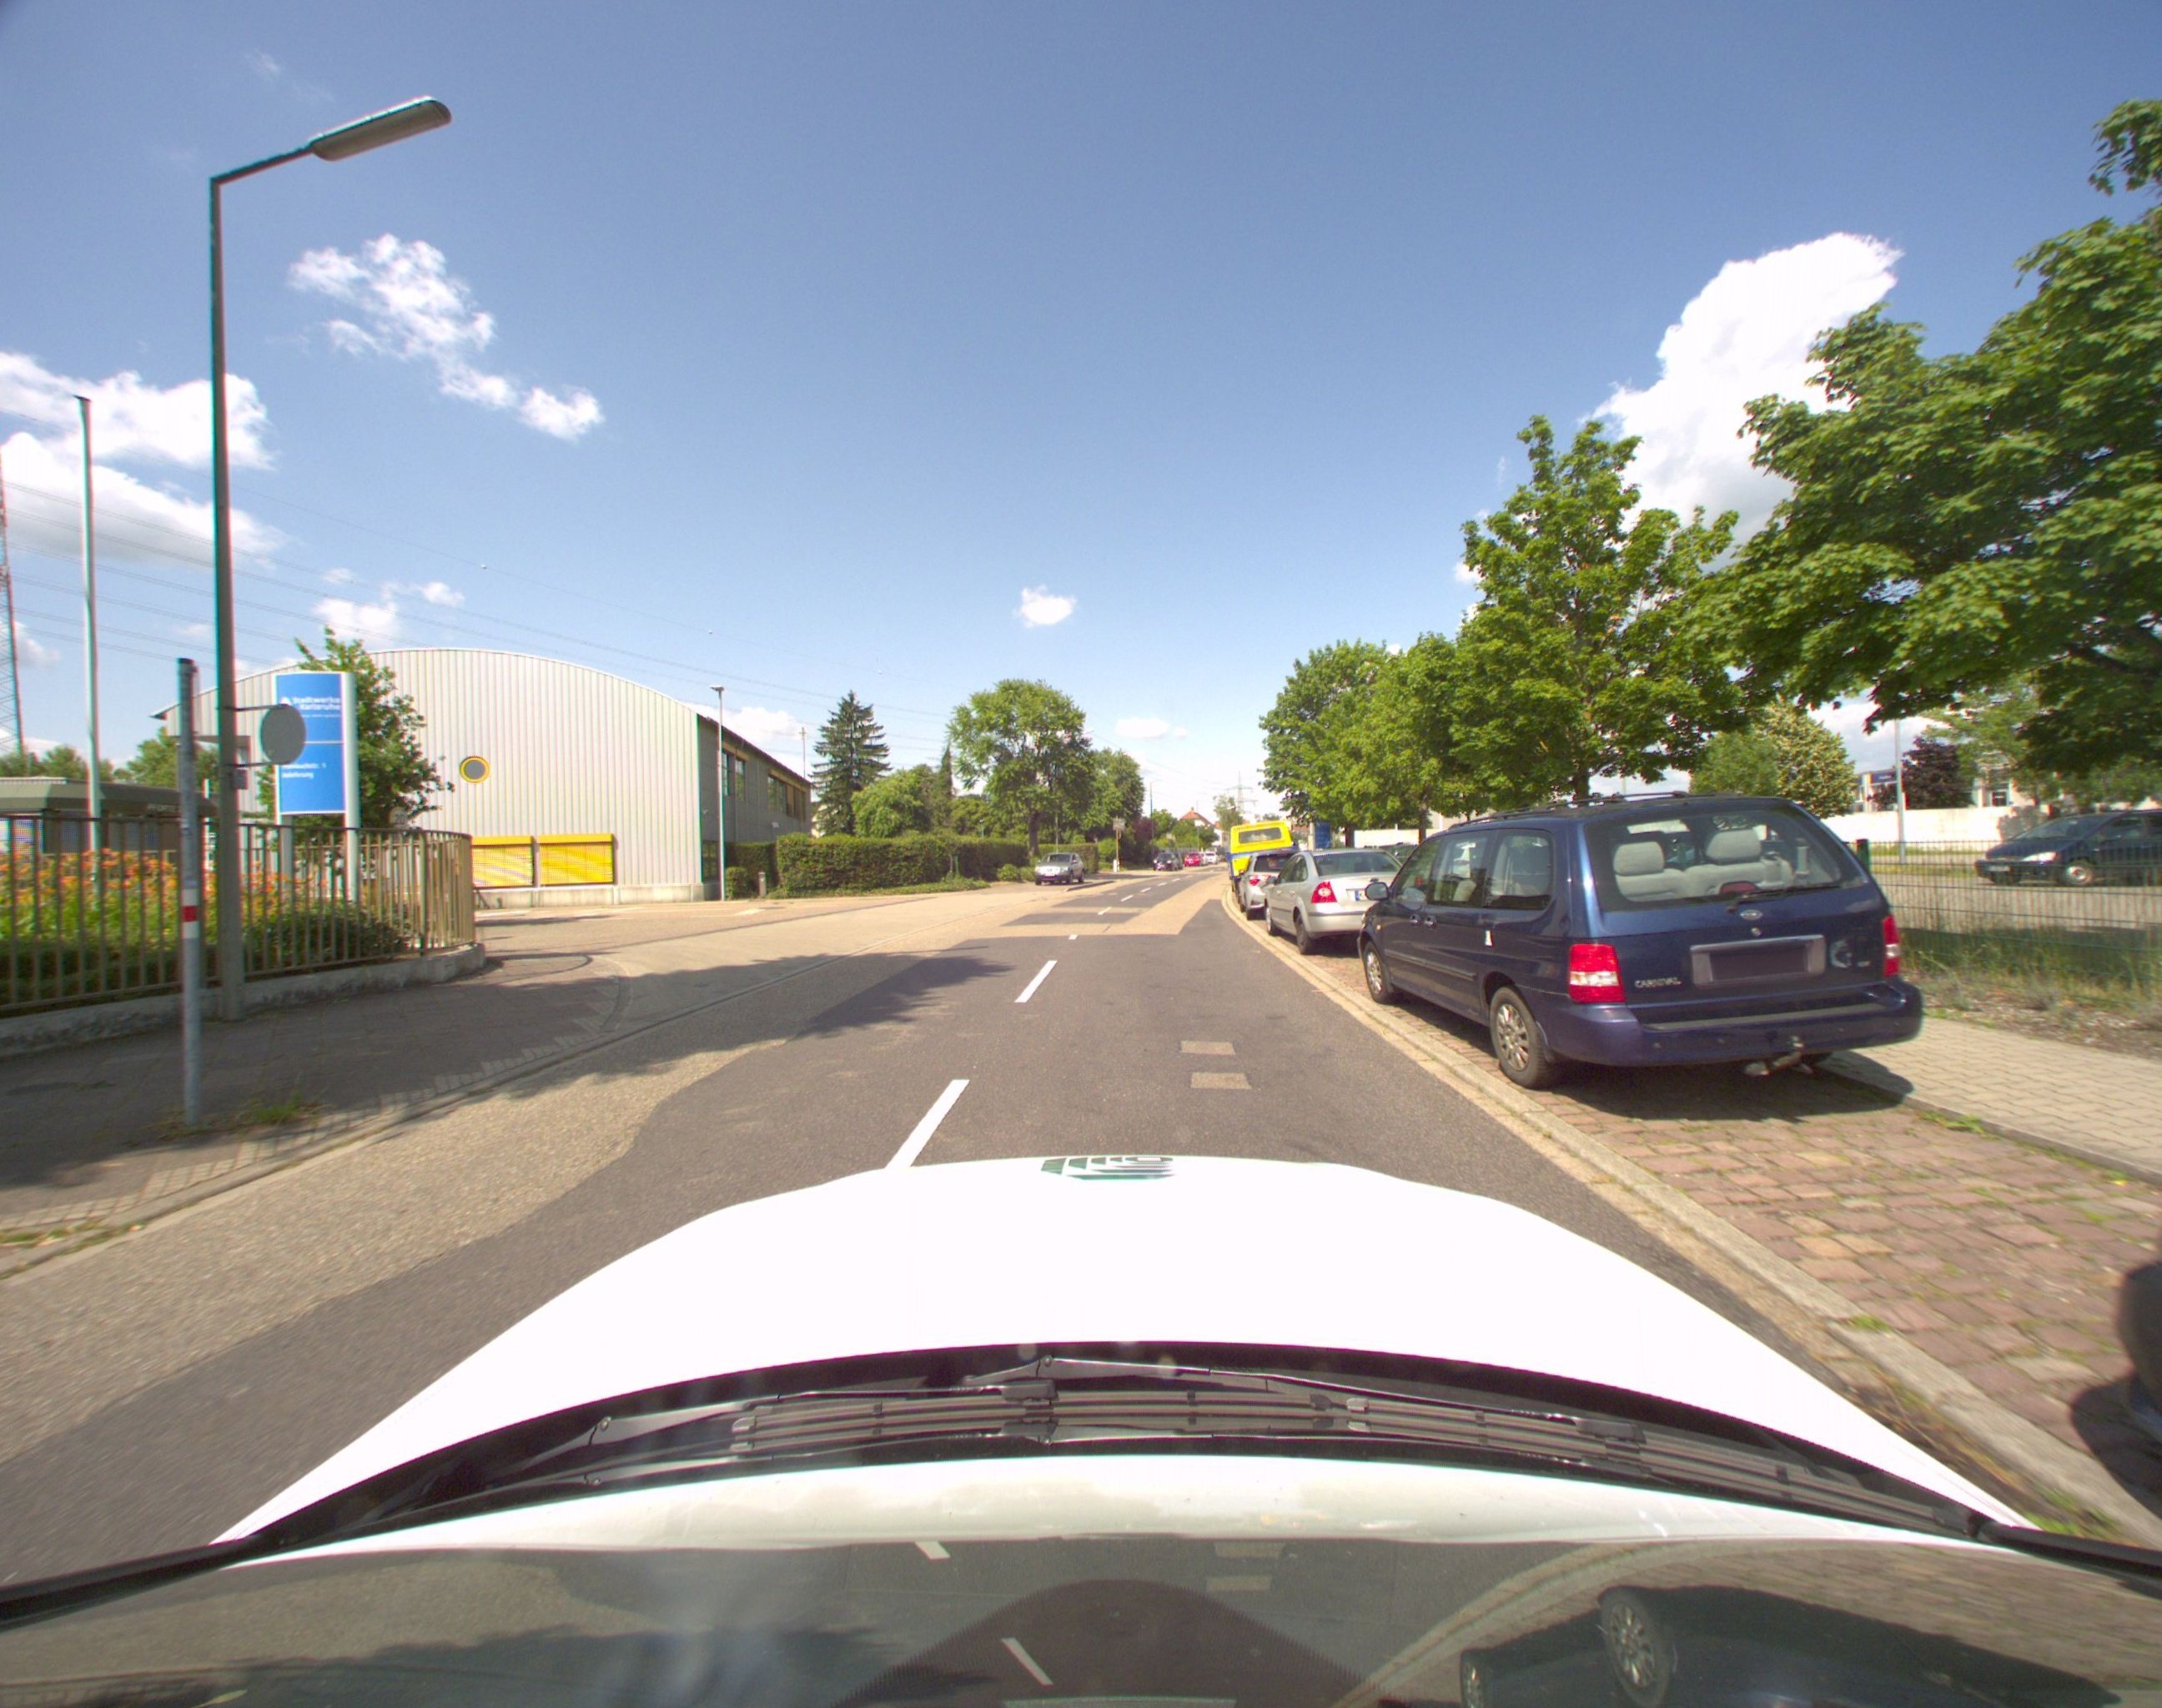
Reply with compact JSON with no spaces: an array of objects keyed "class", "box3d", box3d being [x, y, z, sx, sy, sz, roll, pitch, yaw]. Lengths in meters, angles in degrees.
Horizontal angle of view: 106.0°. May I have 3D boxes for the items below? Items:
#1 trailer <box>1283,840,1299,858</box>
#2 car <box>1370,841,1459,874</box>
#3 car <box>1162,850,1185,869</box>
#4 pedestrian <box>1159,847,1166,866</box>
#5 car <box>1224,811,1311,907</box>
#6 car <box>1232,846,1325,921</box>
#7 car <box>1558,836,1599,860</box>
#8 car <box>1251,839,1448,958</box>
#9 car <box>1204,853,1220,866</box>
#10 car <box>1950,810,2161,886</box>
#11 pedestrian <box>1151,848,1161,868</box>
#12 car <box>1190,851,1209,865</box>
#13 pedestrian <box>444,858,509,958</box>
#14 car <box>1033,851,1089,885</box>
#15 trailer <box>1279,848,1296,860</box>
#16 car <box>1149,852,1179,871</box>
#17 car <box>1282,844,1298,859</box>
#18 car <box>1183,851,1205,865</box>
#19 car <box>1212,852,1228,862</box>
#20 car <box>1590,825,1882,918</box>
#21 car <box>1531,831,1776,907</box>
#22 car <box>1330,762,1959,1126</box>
[{"class":"trailer","box3d":[34.457,-0.779,133.409,2.188,2.737,6.247,-5,-1,15]},{"class":"car","box3d":[17.748,0.201,43.503,4.177,1.593,1.918,-2,-1,15]},{"class":"car","box3d":[8.393,0.511,73.967,1.639,1.645,3.286,1,1,14]},{"class":"pedestrian","box3d":[7.847,0.241,78.248,0.447,1.894,0.680,-2,-1,16]},{"class":"car","box3d":[5.571,0.139,25.080,2.144,2.465,6.658,-3,-1,10]},{"class":"car","box3d":[4.508,0.620,19.032,1.676,1.495,3.957,-3,-1,8]},{"class":"car","box3d":[31.420,-0.335,51.544,1.975,1.468,4.293,0,0,28]},{"class":"car","box3d":[4.068,0.607,13.202,1.825,1.492,4.660,-3,0,3]},{"class":"car","box3d":[15.955,0.615,98.962,1.609,1.522,4.190,-2,0,13]},{"class":"car","box3d":[23.666,-0.150,19.022,4.454,1.640,1.842,-1,0,7]},{"class":"pedestrian","box3d":[7.194,0.384,78.171,0.702,1.801,0.920,-2,-1,16]},{"class":"car","box3d":[13.162,0.421,90.198,1.633,1.477,4.045,-2,-1,15]},{"class":"pedestrian","box3d":[-10.554,0.930,14.231,0.544,1.692,0.735,-2,-2,8]},{"class":"car","box3d":[-0.938,0.672,40.581,1.745,1.574,4.492,-1,0,12]},{"class":"trailer","box3d":[26.636,-0.006,105.011,1.738,1.417,4.563,-5,-1,11]},{"class":"car","box3d":[7.090,0.612,69.185,1.831,1.508,4.017,1,1,16]},{"class":"car","box3d":[29.481,-0.337,114.883,1.978,2.014,5.673,-2,-1,16]},{"class":"car","box3d":[11.912,0.382,85.640,1.653,1.467,3.760,0,0,17]},{"class":"car","box3d":[18.903,0.385,110.448,1.792,1.418,4.514,0,0,15]},{"class":"car","box3d":[12.799,0.341,16.118,4.307,1.495,1.630,-3,-1,3]},{"class":"car","box3d":[13.040,0.336,18.783,4.307,1.671,1.858,0,0,3]},{"class":"car","box3d":[3.651,0.478,6.726,1.842,1.765,5.082,-4,0,4]}]
